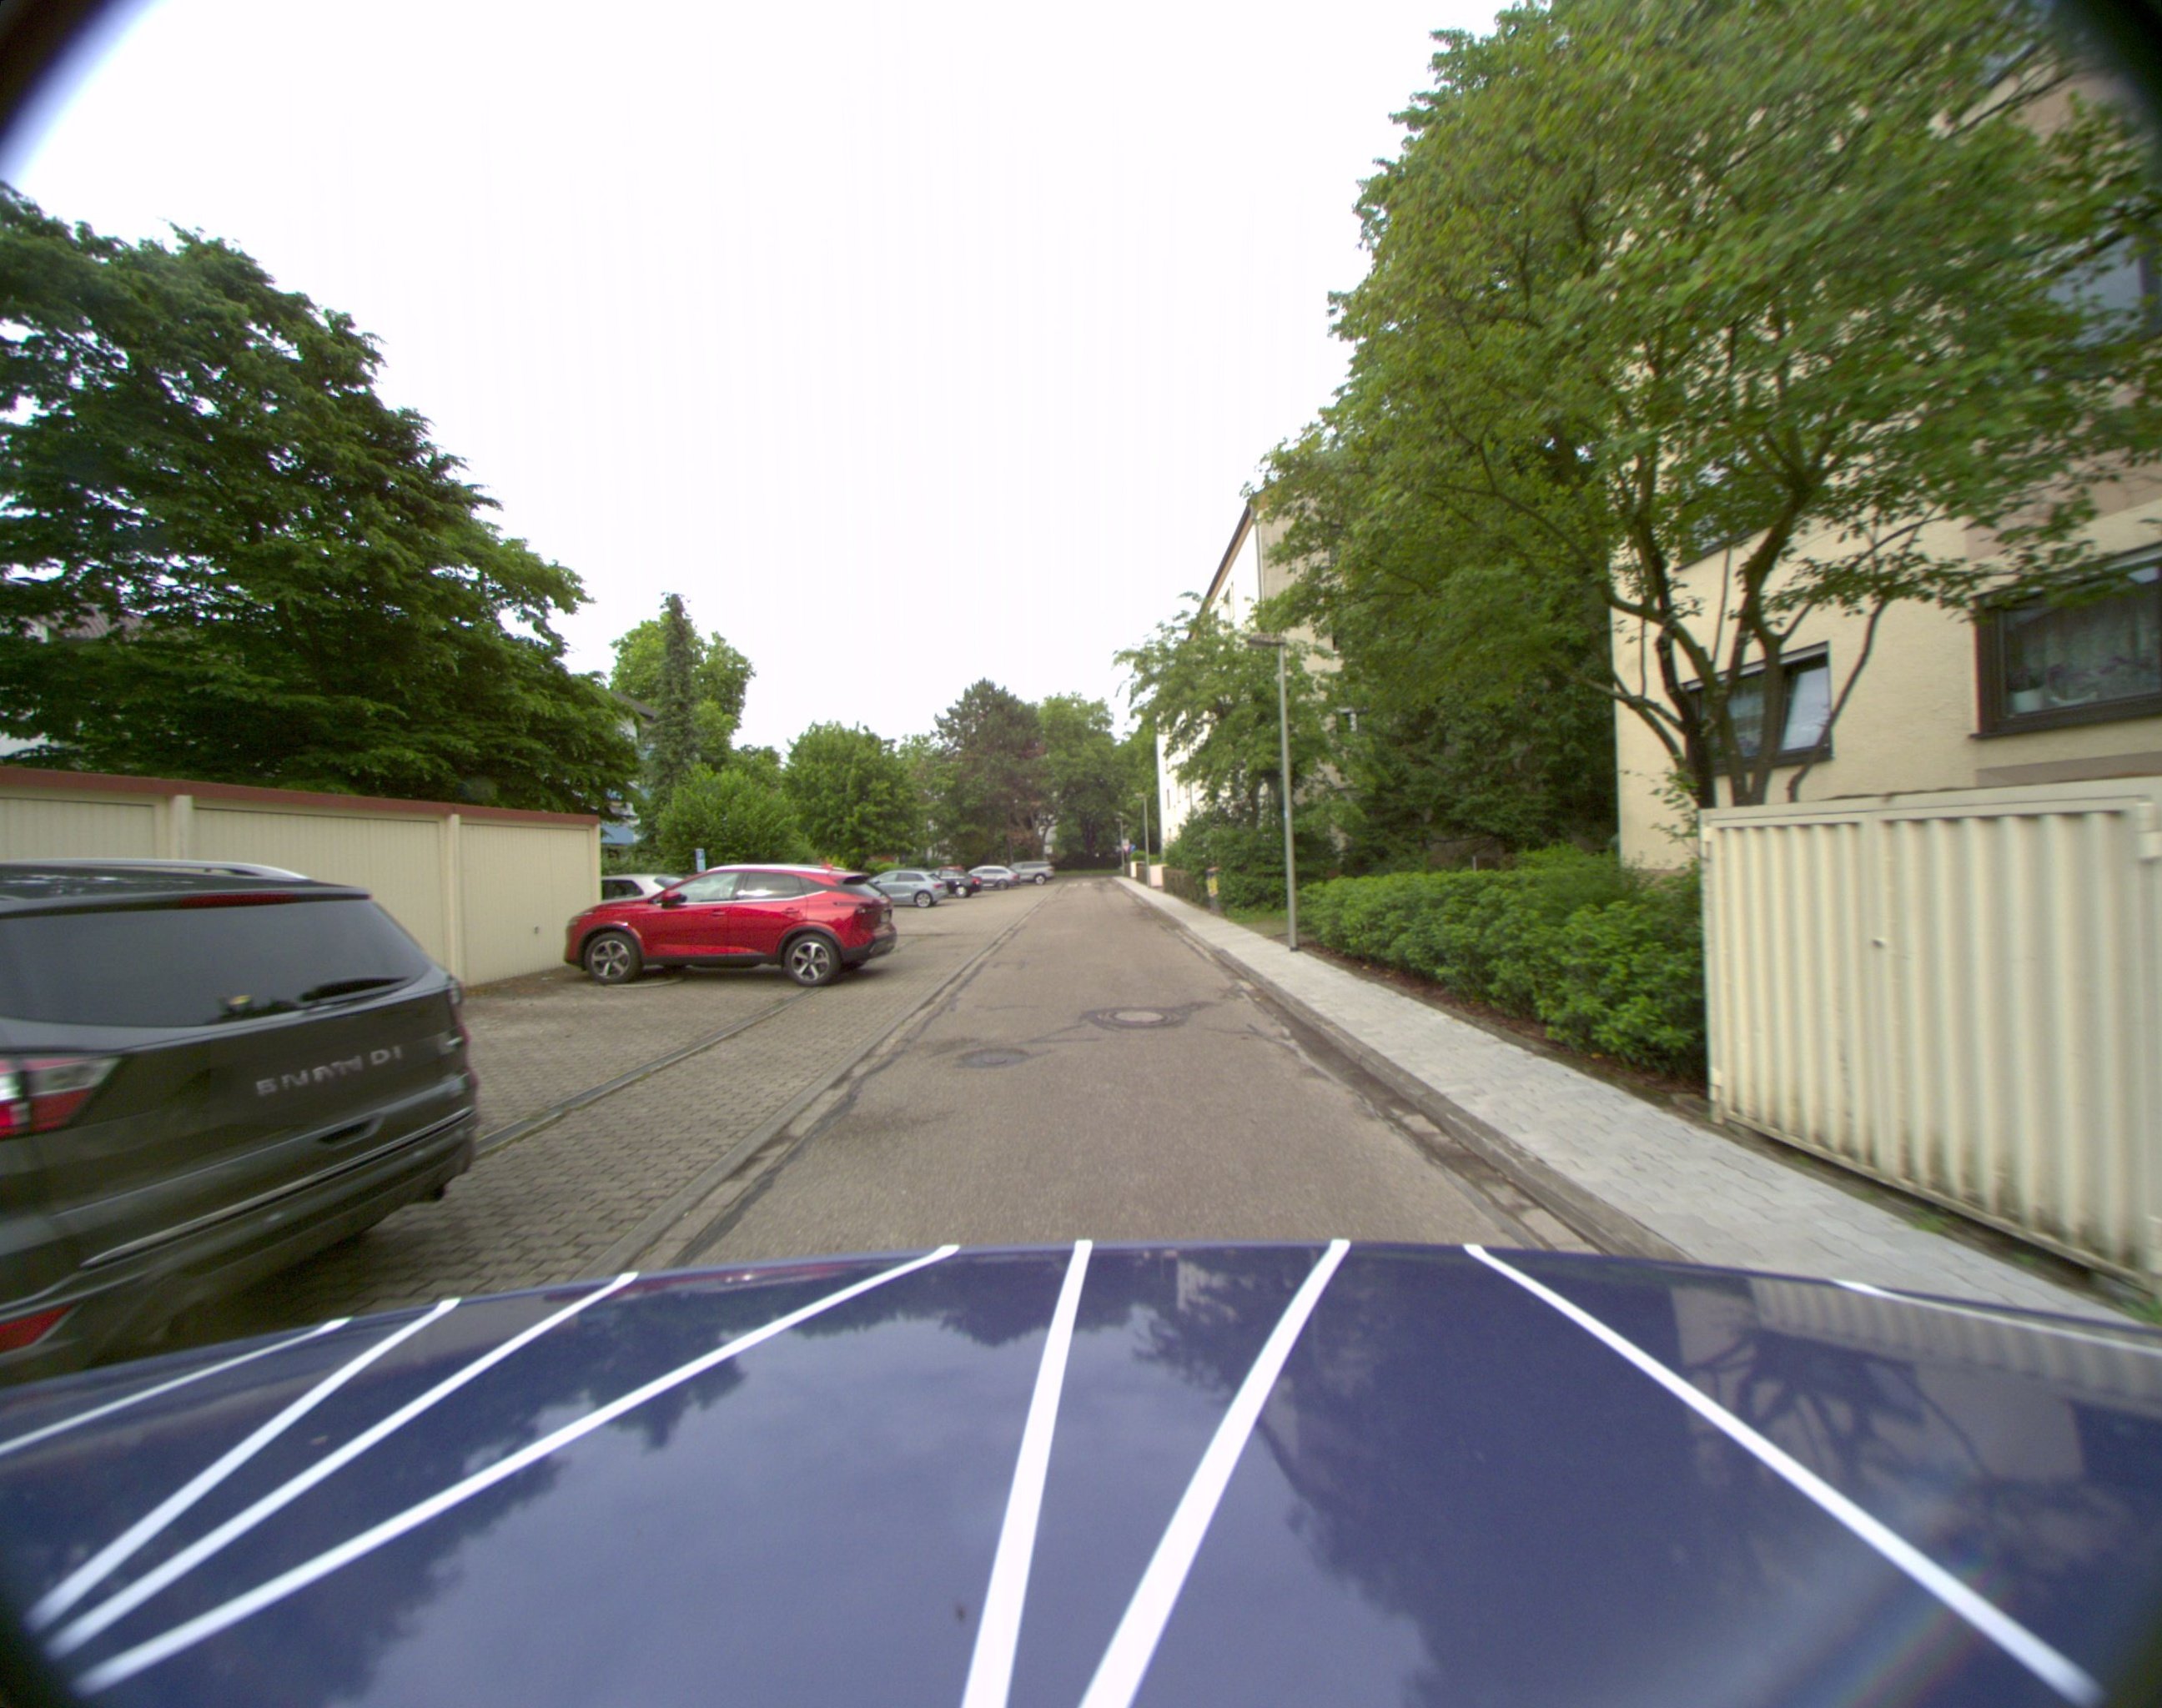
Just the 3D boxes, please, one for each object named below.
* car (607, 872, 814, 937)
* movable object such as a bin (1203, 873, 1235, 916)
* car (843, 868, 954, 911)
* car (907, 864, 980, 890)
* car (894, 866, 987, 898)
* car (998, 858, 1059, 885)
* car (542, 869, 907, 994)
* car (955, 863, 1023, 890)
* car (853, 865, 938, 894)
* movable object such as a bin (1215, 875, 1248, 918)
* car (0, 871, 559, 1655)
[{"bbox_3d":[-9.805,1.323,20.394,4.586,1.521,1.867,-1,0,-1],"label":"car"},{"bbox_3d":[3.427,0.996,18.828,0.597,1.016,0.536,0,0,-19],"label":"movable object such as a bin"},{"bbox_3d":[-7.226,1.393,30.411,3.976,1.426,1.731,-3,0,-2],"label":"car"},{"bbox_3d":[-8.314,1.395,46.242,4.103,1.476,1.788,1,0,1],"label":"car"},{"bbox_3d":[-6.997,1.378,38.102,4.334,1.476,1.788,1,0,1],"label":"car"},{"bbox_3d":[-3.685,1.227,53.680,4.104,1.636,1.787,-3,0,-1],"label":"car"},{"bbox_3d":[-4.874,1.031,10.891,4.299,1.576,1.935,0,0,0],"label":"car"},{"bbox_3d":[-5.855,1.447,48.653,4.104,1.476,1.787,-3,0,-1],"label":"car"},{"bbox_3d":[-9.986,1.374,41.036,4.103,1.476,1.788,1,0,1],"label":"car"},{"bbox_3d":[3.603,1.009,18.213,0.597,1.016,0.536,0,0,-19],"label":"movable object such as a bin"},{"bbox_3d":[-4.511,0.939,2.486,4.206,1.717,2.000,0,0,0],"label":"car"}]
